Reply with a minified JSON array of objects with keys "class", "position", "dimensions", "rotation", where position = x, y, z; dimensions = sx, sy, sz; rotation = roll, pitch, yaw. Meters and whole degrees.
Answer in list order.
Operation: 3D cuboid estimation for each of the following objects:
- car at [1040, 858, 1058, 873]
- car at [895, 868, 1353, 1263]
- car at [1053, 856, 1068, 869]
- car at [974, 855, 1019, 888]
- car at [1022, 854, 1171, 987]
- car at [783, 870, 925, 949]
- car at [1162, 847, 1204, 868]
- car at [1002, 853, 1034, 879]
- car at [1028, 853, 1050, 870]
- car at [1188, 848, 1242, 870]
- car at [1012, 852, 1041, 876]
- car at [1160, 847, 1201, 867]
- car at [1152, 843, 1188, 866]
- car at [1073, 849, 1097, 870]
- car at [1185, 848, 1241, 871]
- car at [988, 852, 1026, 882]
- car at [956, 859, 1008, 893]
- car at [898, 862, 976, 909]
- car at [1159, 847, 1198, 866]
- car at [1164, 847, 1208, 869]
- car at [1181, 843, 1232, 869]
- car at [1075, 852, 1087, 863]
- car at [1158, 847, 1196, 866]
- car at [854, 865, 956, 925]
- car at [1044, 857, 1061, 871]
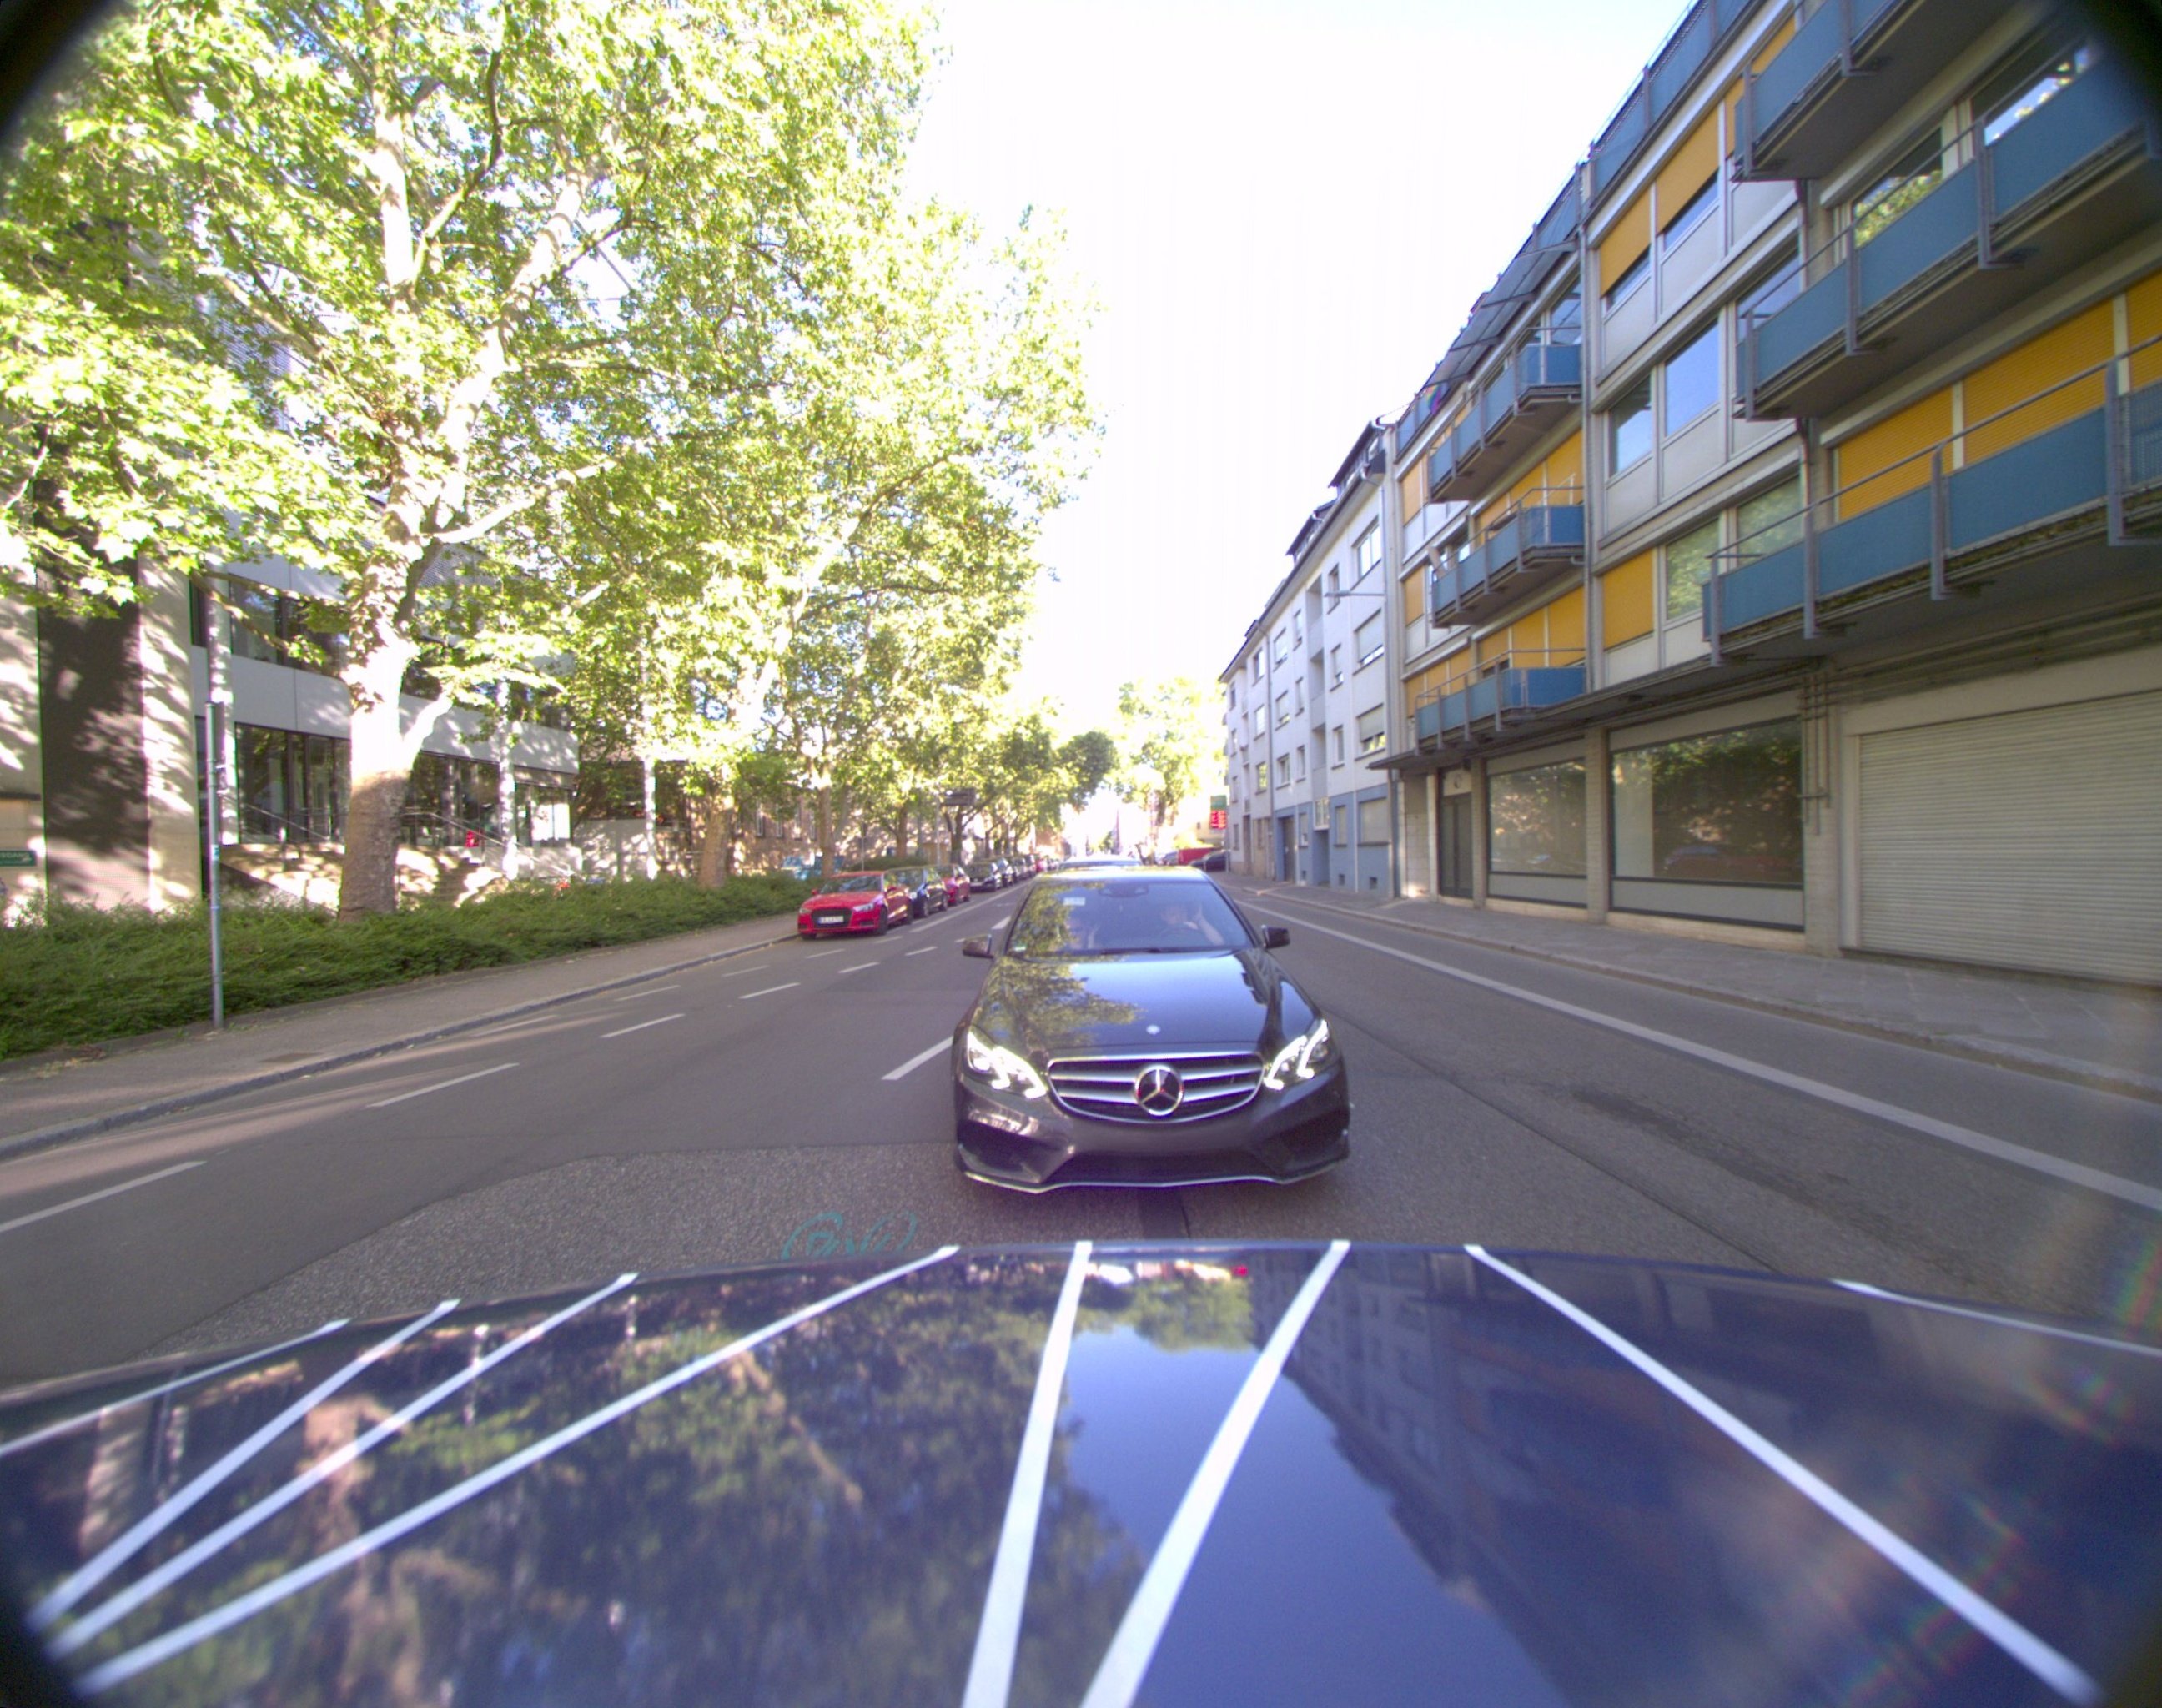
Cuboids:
[{"class":"car","position":[-3.759,1.319,89.995],"dimensions":[1.866,1.632,4.481],"rotation":[-2,0,1]},{"class":"car","position":[0.210,0.932,5.417],"dimensions":[1.866,1.492,4.481],"rotation":[-2,0,1]},{"class":"car","position":[-2.817,1.110,105.201],"dimensions":[1.866,1.632,4.481],"rotation":[-2,0,1]},{"class":"car","position":[-4.615,0.906,42.217],"dimensions":[1.866,1.658,4.481],"rotation":[-2,0,1]},{"class":"car","position":[0.230,0.857,11.940],"dimensions":[1.866,1.630,4.303],"rotation":[-2,0,1]},{"class":"car","position":[-5.099,1.176,17.741],"dimensions":[1.866,1.442,4.481],"rotation":[-2,0,1]},{"class":"car","position":[10.338,0.345,77.156],"dimensions":[3.996,1.936,2.000],"rotation":[-2,1,2]},{"class":"car","position":[-4.497,0.817,54.810],"dimensions":[1.866,1.749,4.481],"rotation":[-2,0,1]},{"class":"car","position":[-4.193,0.703,76.288],"dimensions":[1.866,1.632,4.481],"rotation":[-2,0,1]},{"class":"car","position":[10.721,0.377,61.203],"dimensions":[3.996,1.543,2.000],"rotation":[-2,1,2]},{"class":"car","position":[-4.240,0.754,59.766],"dimensions":[1.866,1.749,4.481],"rotation":[-2,0,1]},{"class":"car","position":[10.466,0.308,80.007],"dimensions":[3.996,1.936,2.000],"rotation":[-2,1,2]},{"class":"car","position":[10.495,0.004,89.517],"dimensions":[3.996,2.505,2.000],"rotation":[-2,1,2]},{"class":"car","position":[0.346,0.455,64.435],"dimensions":[1.866,1.632,4.481],"rotation":[-2,0,1]},{"class":"car","position":[10.180,0.424,58.881],"dimensions":[3.996,1.543,2.000],"rotation":[-2,1,2]},{"class":"car","position":[-4.627,0.782,48.144],"dimensions":[1.866,1.749,4.481],"rotation":[-2,0,1]},{"class":"car","position":[-4.751,1.023,37.182],"dimensions":[1.866,1.442,4.481],"rotation":[-2,0,1]},{"class":"car","position":[-5.082,1.064,27.435],"dimensions":[1.866,1.442,4.481],"rotation":[-2,0,1]},{"class":"car","position":[10.596,0.275,82.496],"dimensions":[3.996,1.936,2.000],"rotation":[-2,1,2]},{"class":"car","position":[10.254,0.378,74.515],"dimensions":[3.996,1.936,2.000],"rotation":[-2,1,2]},{"class":"car","position":[10.554,0.155,64.034],"dimensions":[3.996,1.936,2.000],"rotation":[-2,1,2]},{"class":"car","position":[0.057,0.549,123.958],"dimensions":[1.866,1.632,4.481],"rotation":[-2,0,1]},{"class":"car","position":[10.742,0.242,84.990],"dimensions":[3.996,1.936,2.000],"rotation":[-2,1,2]},{"class":"car","position":[-5.038,1.122,22.392],"dimensions":[1.866,1.442,4.481],"rotation":[-2,0,1]},{"class":"car","position":[-3.649,1.235,96.794],"dimensions":[1.866,1.632,4.481],"rotation":[-2,0,1]}]
